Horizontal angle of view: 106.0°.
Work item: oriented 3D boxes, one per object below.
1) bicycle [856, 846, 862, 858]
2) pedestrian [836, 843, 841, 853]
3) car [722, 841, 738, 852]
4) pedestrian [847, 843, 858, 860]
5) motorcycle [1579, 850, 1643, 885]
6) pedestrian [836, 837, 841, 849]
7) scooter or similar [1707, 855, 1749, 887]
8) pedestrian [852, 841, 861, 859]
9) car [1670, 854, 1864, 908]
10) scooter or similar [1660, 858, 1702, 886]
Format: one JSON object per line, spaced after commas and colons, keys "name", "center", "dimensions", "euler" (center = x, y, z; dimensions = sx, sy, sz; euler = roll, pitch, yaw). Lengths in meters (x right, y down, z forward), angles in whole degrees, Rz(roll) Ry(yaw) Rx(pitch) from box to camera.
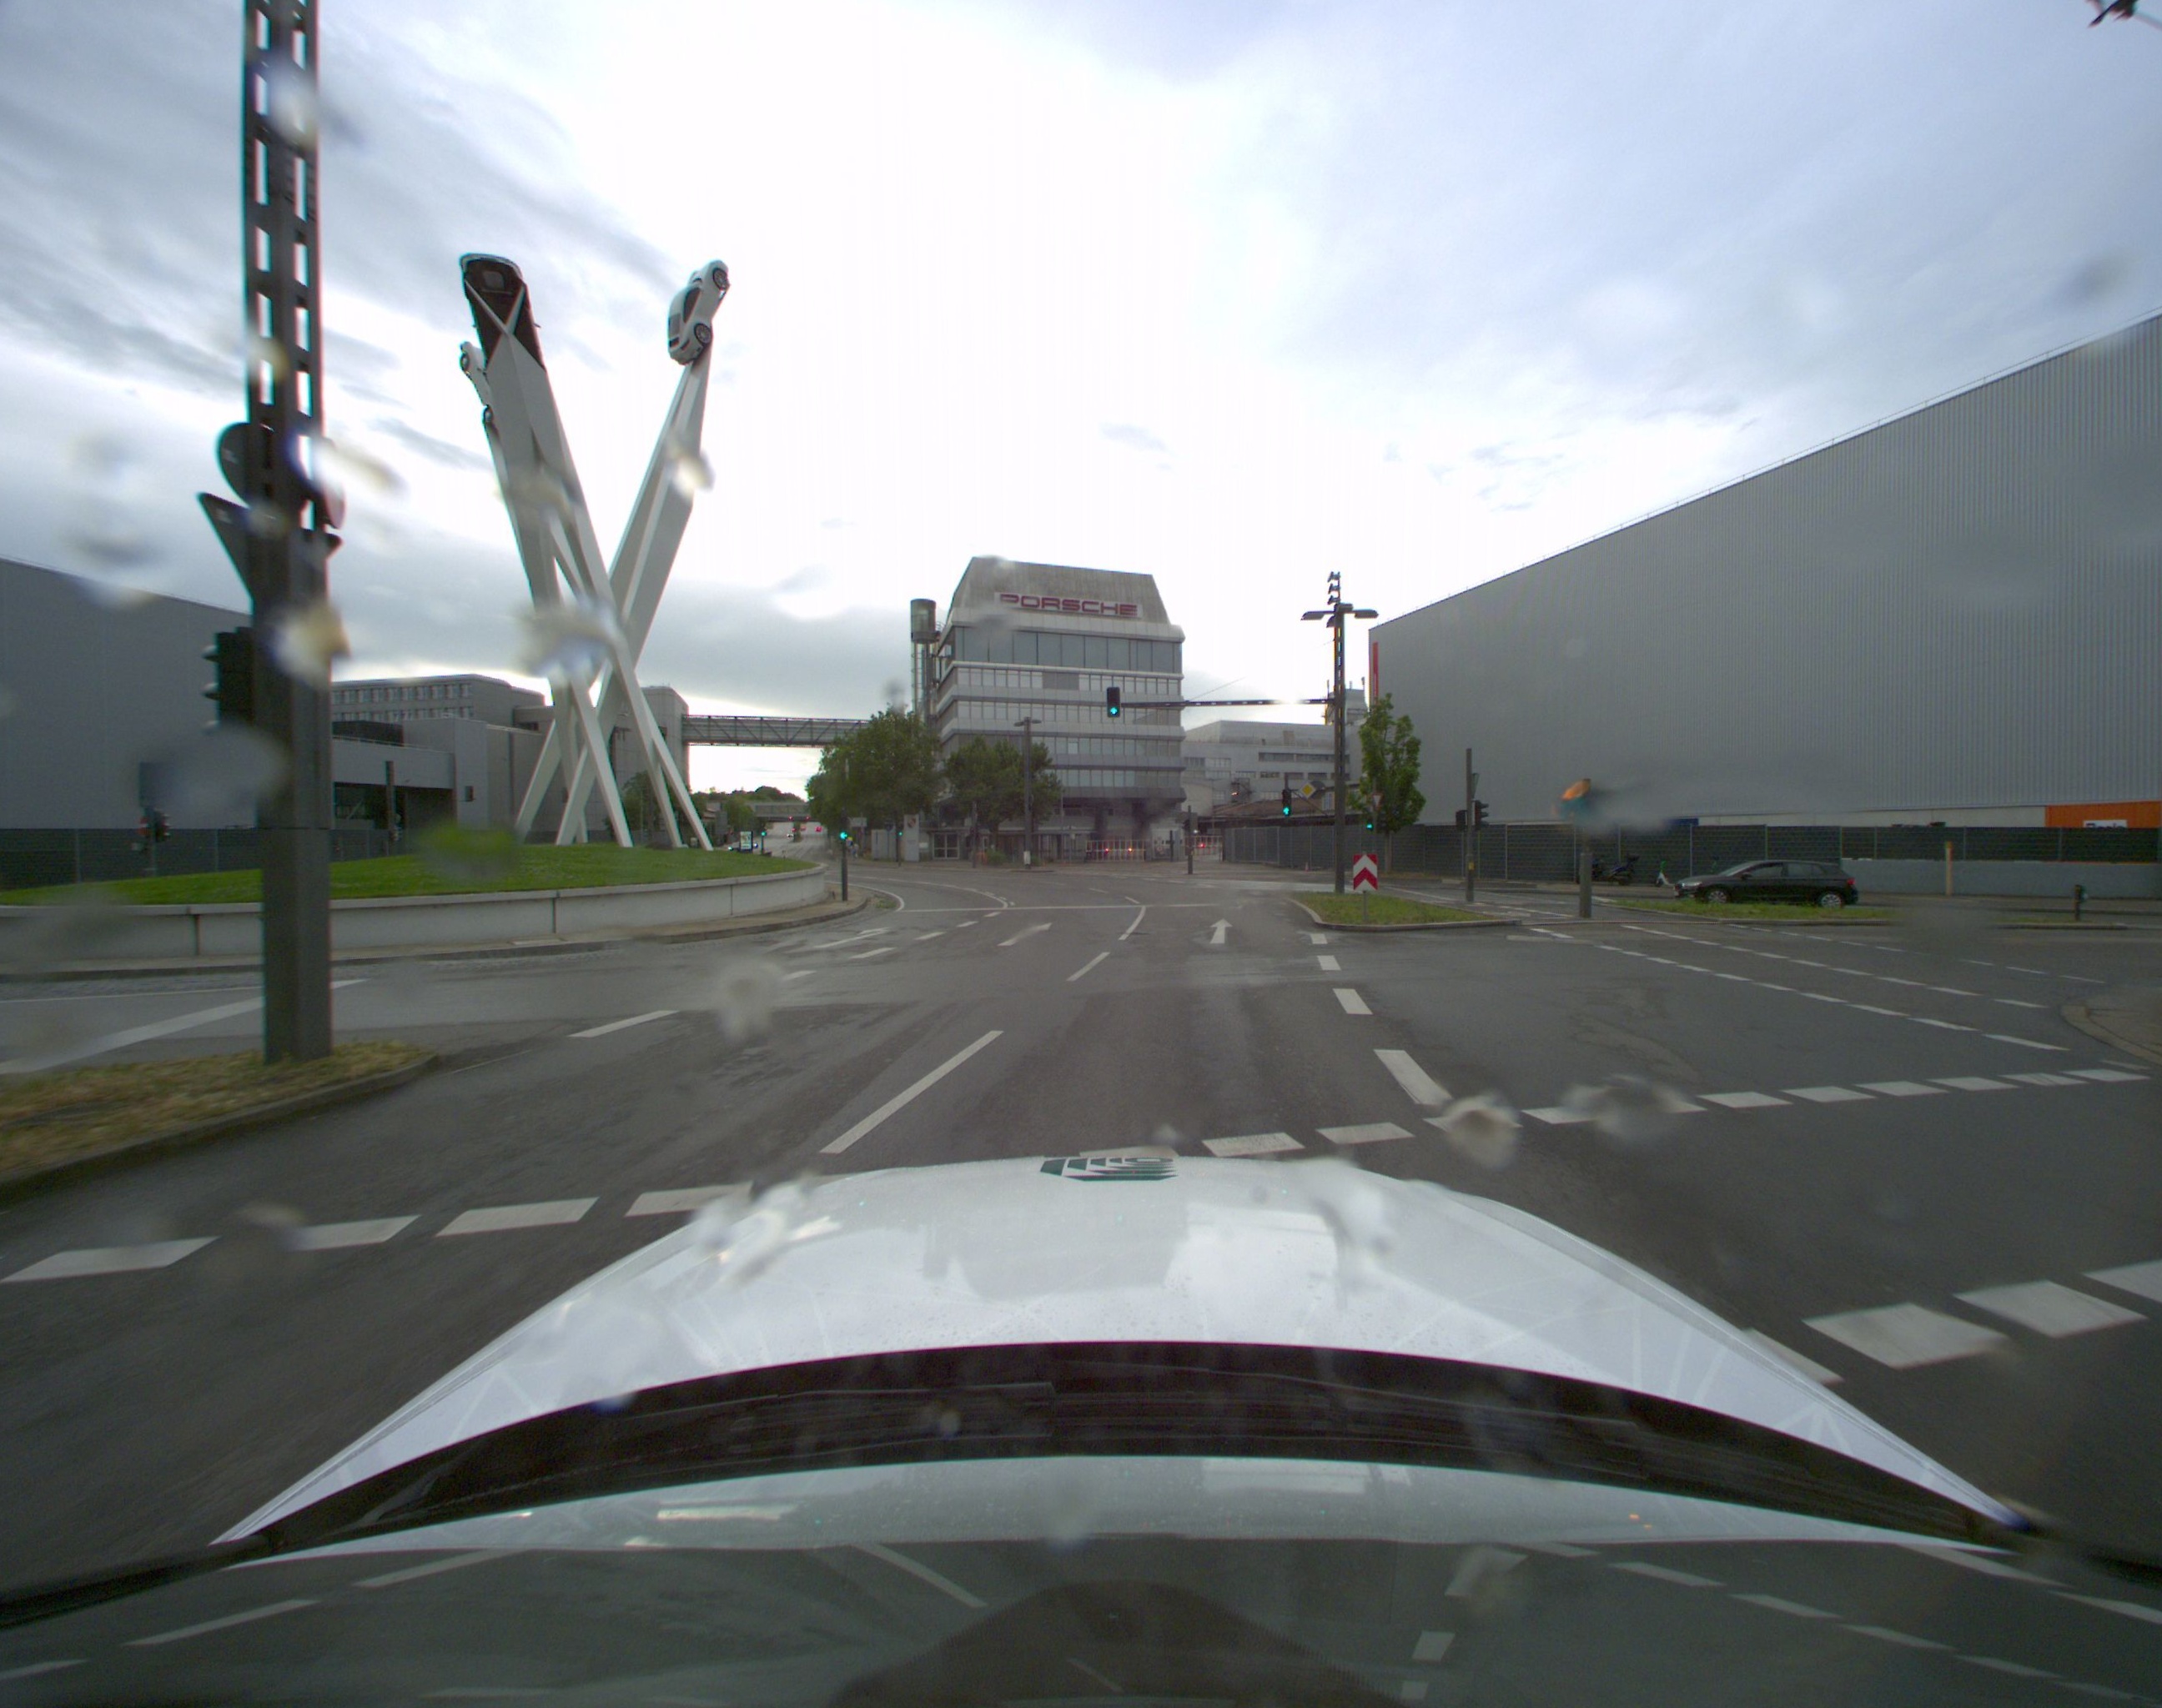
{"name": "bicycle", "center": [-21.705, -0.232, 79.589], "dimensions": [0.343, 1.118, 1.958], "euler": [-1, 1, -24]}
{"name": "pedestrian", "center": [-46.595, -1.190, 156.220], "dimensions": [0.762, 2.013, 0.692], "euler": [0, 0, -1]}
{"name": "car", "center": [-50.522, -1.103, 117.289], "dimensions": [1.788, 1.440, 4.369], "euler": [-1, 2, -18]}
{"name": "pedestrian", "center": [-20.654, -0.223, 73.698], "dimensions": [0.832, 1.520, 0.838], "euler": [-1, 1, -12]}
{"name": "motorcycle", "center": [21.381, 0.533, 32.903], "dimensions": [2.076, 1.310, 0.659], "euler": [1, 1, 21]}
{"name": "pedestrian", "center": [-36.210, -1.641, 121.599], "dimensions": [0.713, 1.740, 0.755], "euler": [1, -2, -18]}
{"name": "scooter or similar", "center": [25.074, 0.655, 31.573], "dimensions": [1.254, 1.199, 0.428], "euler": [1, 1, 35]}
{"name": "pedestrian", "center": [-20.787, -0.376, 75.344], "dimensions": [0.710, 1.592, 0.837], "euler": [-1, 1, -14]}
{"name": "car", "center": [19.600, 0.719, 23.489], "dimensions": [3.951, 1.425, 1.730], "euler": [1, 0, 24]}
{"name": "scooter or similar", "center": [23.589, 0.709, 32.026], "dimensions": [0.387, 1.029, 1.257], "euler": [0, 1, -36]}
